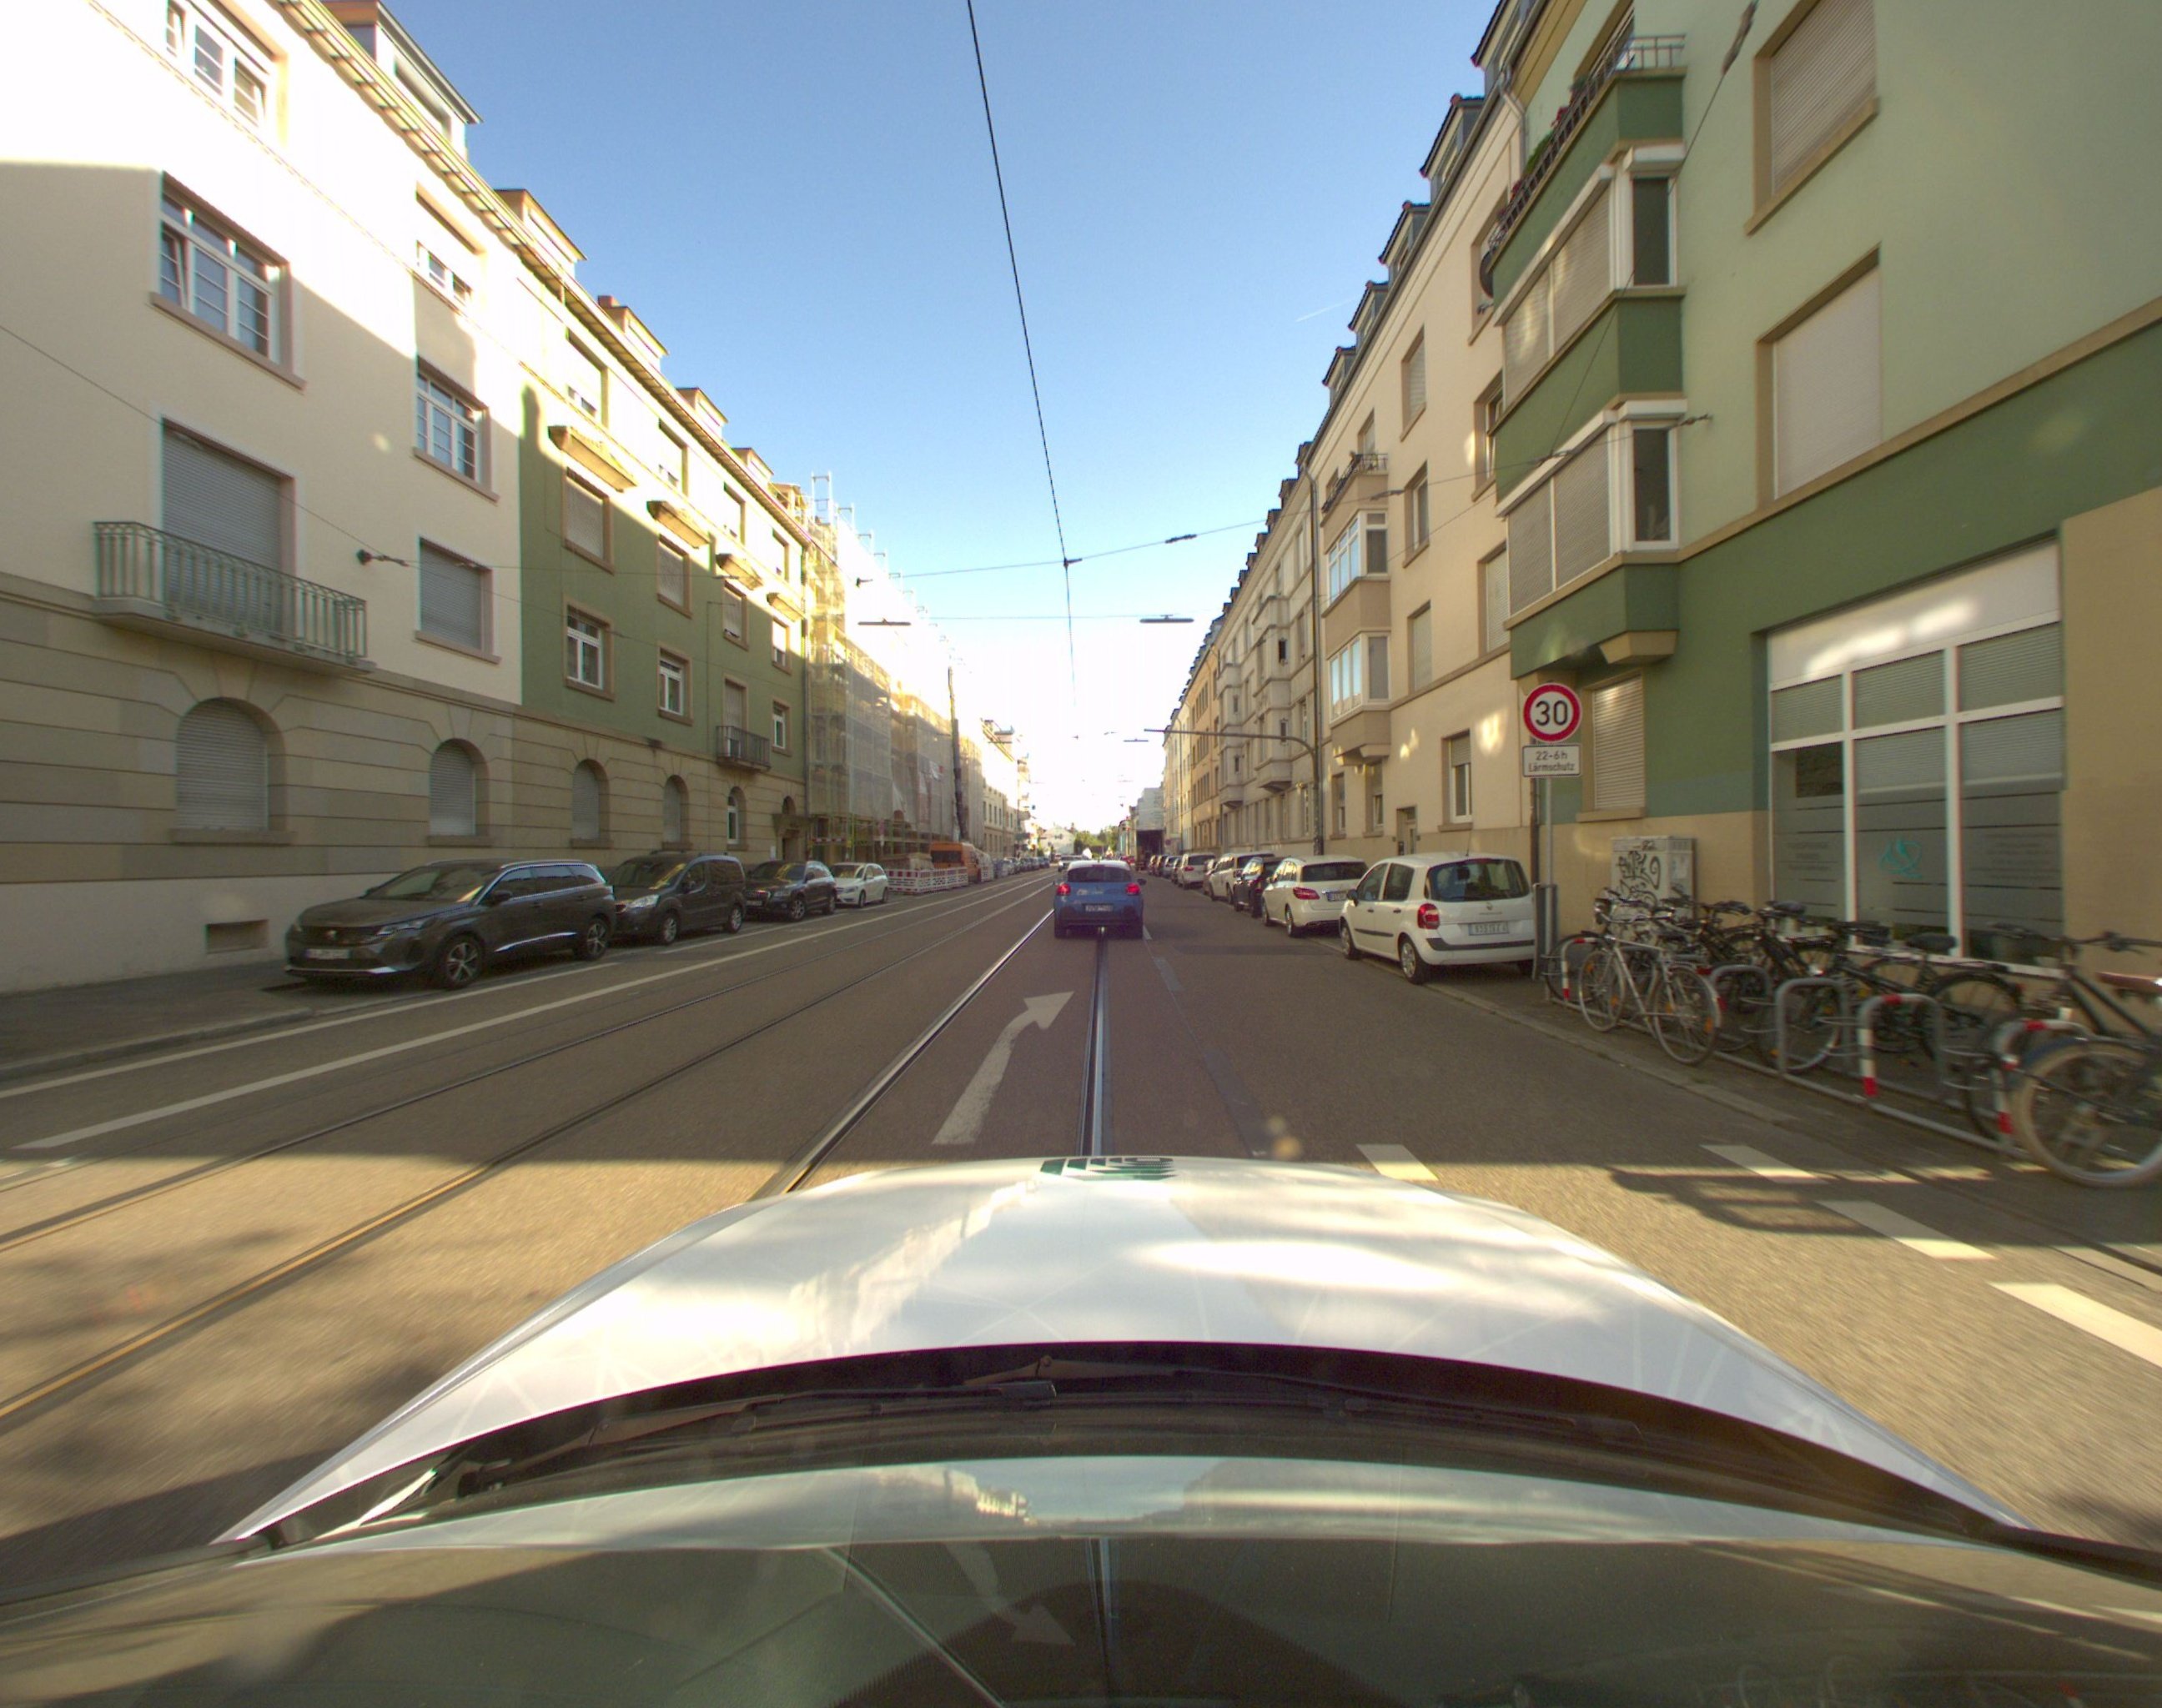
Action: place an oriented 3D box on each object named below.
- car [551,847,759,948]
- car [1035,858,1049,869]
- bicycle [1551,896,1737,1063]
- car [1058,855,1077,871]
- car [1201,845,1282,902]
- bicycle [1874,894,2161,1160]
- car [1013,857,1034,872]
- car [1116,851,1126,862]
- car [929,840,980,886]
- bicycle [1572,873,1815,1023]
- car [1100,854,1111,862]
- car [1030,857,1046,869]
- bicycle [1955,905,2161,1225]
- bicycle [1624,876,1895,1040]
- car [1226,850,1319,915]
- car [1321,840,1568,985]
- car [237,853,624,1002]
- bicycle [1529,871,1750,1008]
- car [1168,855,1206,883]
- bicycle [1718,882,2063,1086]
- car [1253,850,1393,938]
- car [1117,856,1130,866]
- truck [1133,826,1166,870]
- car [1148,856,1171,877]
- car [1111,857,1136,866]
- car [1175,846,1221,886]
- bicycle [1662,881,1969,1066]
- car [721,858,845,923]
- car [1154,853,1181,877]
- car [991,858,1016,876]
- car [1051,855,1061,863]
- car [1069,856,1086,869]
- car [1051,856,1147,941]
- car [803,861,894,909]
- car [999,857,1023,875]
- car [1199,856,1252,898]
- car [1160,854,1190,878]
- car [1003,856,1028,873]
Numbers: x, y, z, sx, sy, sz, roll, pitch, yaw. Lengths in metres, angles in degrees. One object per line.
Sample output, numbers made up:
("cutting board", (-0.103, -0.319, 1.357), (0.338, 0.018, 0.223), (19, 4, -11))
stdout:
("car", (-8.690, 0.800, 17.142), (1.776, 1.816, 4.531), (1, 0, 3))
("car", (-5.704, 1.379, 119.101), (1.820, 1.632, 3.904), (-1, 0, -1))
("bicycle", (4.361, 0.907, 6.454), (0.351, 1.044, 1.730), (-1, 0, 3))
("car", (-1.391, 0.950, 85.607), (1.819, 1.632, 4.492), (-1, 0, 2))
("car", (5.418, 0.637, 28.034), (1.651, 1.752, 4.598), (-1, 0, -2))
("bicycle", (5.263, 0.840, 4.168), (1.836, 1.154, 0.469), (-4, 0, 2))
("car", (-6.523, 1.165, 93.019), (1.819, 1.632, 4.851), (-1, 0, 2))
("car", (8.559, 0.433, 174.521), (2.211, 2.284, 4.085), (-1, 0, 2))
("car", (-7.199, 0.474, 46.741), (2.138, 2.475, 4.979), (-1, 0, 0))
("bicycle", (5.418, 0.817, 7.253), (1.716, 1.154, 0.469), (-4, 0, 2))
("car", (4.972, 0.765, 166.145), (2.172, 1.487, 4.162), (-1, 0, 2))
("car", (-5.910, 1.287, 113.091), (1.819, 1.632, 3.906), (-1, 0, 1))
("bicycle", (5.261, 0.813, 3.466), (2.078, 1.154, 0.848), (-4, 0, 2))
("bicycle", (5.482, 0.826, 6.630), (1.716, 1.154, 0.469), (-4, 0, 2))
("car", (5.130, 0.714, 22.333), (1.648, 1.566, 4.340), (-1, 0, 2))
("car", (4.792, 0.685, 11.420), (1.777, 1.632, 4.002), (-1, 0, 2))
("car", (-8.799, 0.849, 11.713), (1.777, 1.690, 4.667), (1, 0, 0))
("bicycle", (5.373, 0.812, 7.882), (1.716, 1.154, 0.469), (-4, 0, 2))
("car", (5.932, 0.827, 45.998), (1.716, 1.487, 4.224), (-1, 0, 2))
("bicycle", (5.319, 0.834, 5.406), (1.716, 1.154, 0.469), (-4, 0, 2))
("car", (4.927, 0.749, 17.197), (1.777, 1.576, 4.328), (-1, 0, 2))
("car", (6.011, 0.985, 115.522), (1.758, 1.487, 4.033), (-1, 0, 2))
("truck", (6.780, -0.513, 82.263), (2.841, 4.083, 11.279), (-1, 0, 3))
("car", (6.389, 0.992, 66.547), (1.657, 1.633, 3.873), (-1, 0, 2))
("car", (7.187, 1.271, 137.230), (4.008, 1.487, 1.759), (-1, 0, -3))
("car", (5.720, 0.557, 40.256), (1.724, 1.827, 4.689), (-1, 0, 2))
("bicycle", (5.321, 0.849, 5.953), (1.716, 1.154, 0.469), (-4, 0, 2))
("car", (-8.218, 0.935, 22.933), (1.777, 1.627, 4.608), (1, 0, 0))
("car", (6.391, 0.804, 60.525), (1.657, 1.647, 4.224), (-1, 0, 2))
("car", (-7.049, 1.178, 74.690), (1.707, 1.518, 4.049), (-1, 0, 2))
("car", (-5.127, 1.069, 168.177), (1.894, 1.632, 4.269), (-1, 0, 2))
("car", (-0.423, 1.080, 105.322), (1.894, 1.632, 4.269), (-1, 0, 2))
("car", (0.395, 0.807, 16.767), (1.728, 1.507, 3.994), (1, 0, 2))
("car", (-8.177, 1.034, 29.052), (1.711, 1.502, 4.391), (1, 0, 3))
("car", (-6.783, 1.136, 79.263), (1.707, 1.594, 4.269), (-1, 0, 2))
("car", (5.713, 0.883, 32.536), (1.608, 1.560, 3.602), (-1, 0, 2))
("car", (6.405, 0.802, 55.677), (1.657, 1.519, 4.224), (-1, 0, 2))
("car", (-7.002, 1.103, 87.252), (2.137, 1.621, 4.001), (-2, 0, 1))
